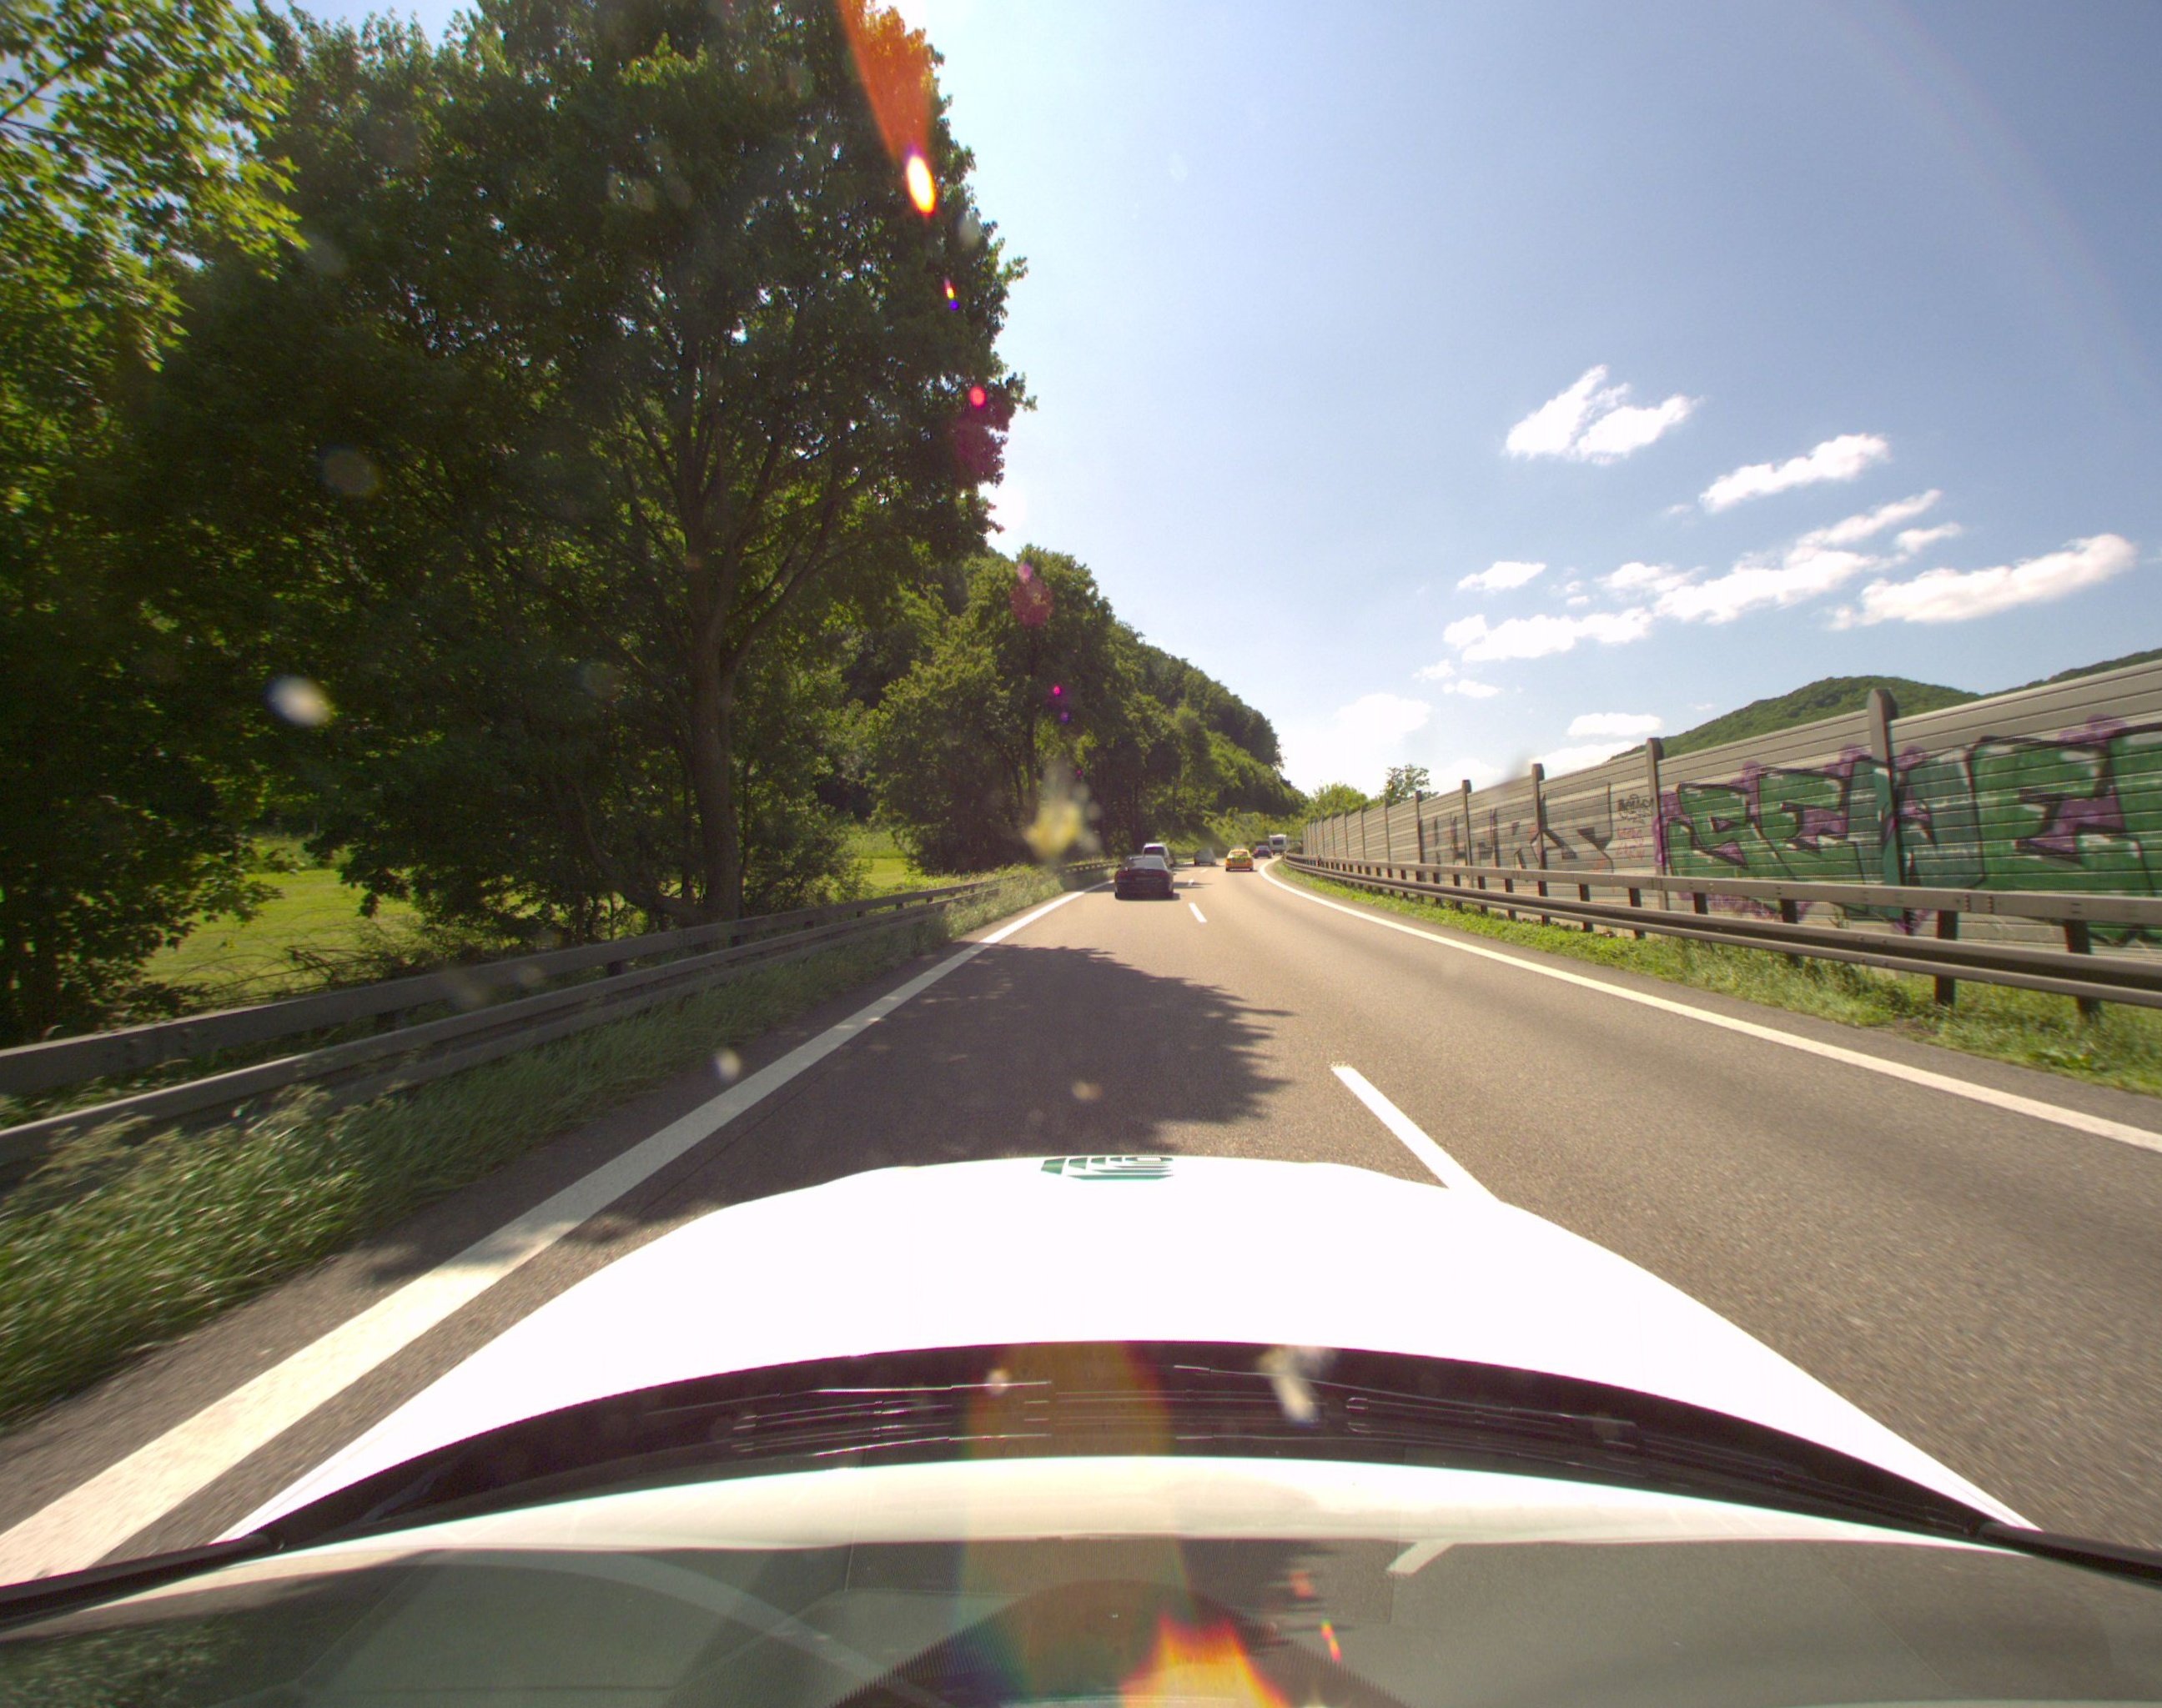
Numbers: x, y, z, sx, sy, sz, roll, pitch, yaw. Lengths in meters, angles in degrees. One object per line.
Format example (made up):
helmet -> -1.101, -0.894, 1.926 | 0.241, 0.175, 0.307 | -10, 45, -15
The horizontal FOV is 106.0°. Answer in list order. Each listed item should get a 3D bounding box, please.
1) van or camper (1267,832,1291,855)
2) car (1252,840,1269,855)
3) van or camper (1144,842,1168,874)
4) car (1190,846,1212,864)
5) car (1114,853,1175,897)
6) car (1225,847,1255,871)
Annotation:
van or camper -> 26.839, -1.402, 110.151 | 2.435, 2.918, 6.156 | -2, -1, 20
car -> 20.561, -0.764, 93.225 | 1.761, 1.637, 4.015 | -2, 0, 14
van or camper -> 4.593, 0.240, 50.212 | 1.385, 1.816, 4.005 | -2, 0, 4
car -> 10.430, 0.081, 70.563 | 1.737, 1.431, 4.010 | -2, 0, 9
car -> 2.182, 0.665, 27.213 | 1.828, 1.349, 4.008 | 0, -1, 7
car -> 10.749, 0.319, 54.928 | 1.850, 1.488, 4.013 | -2, 0, 11
